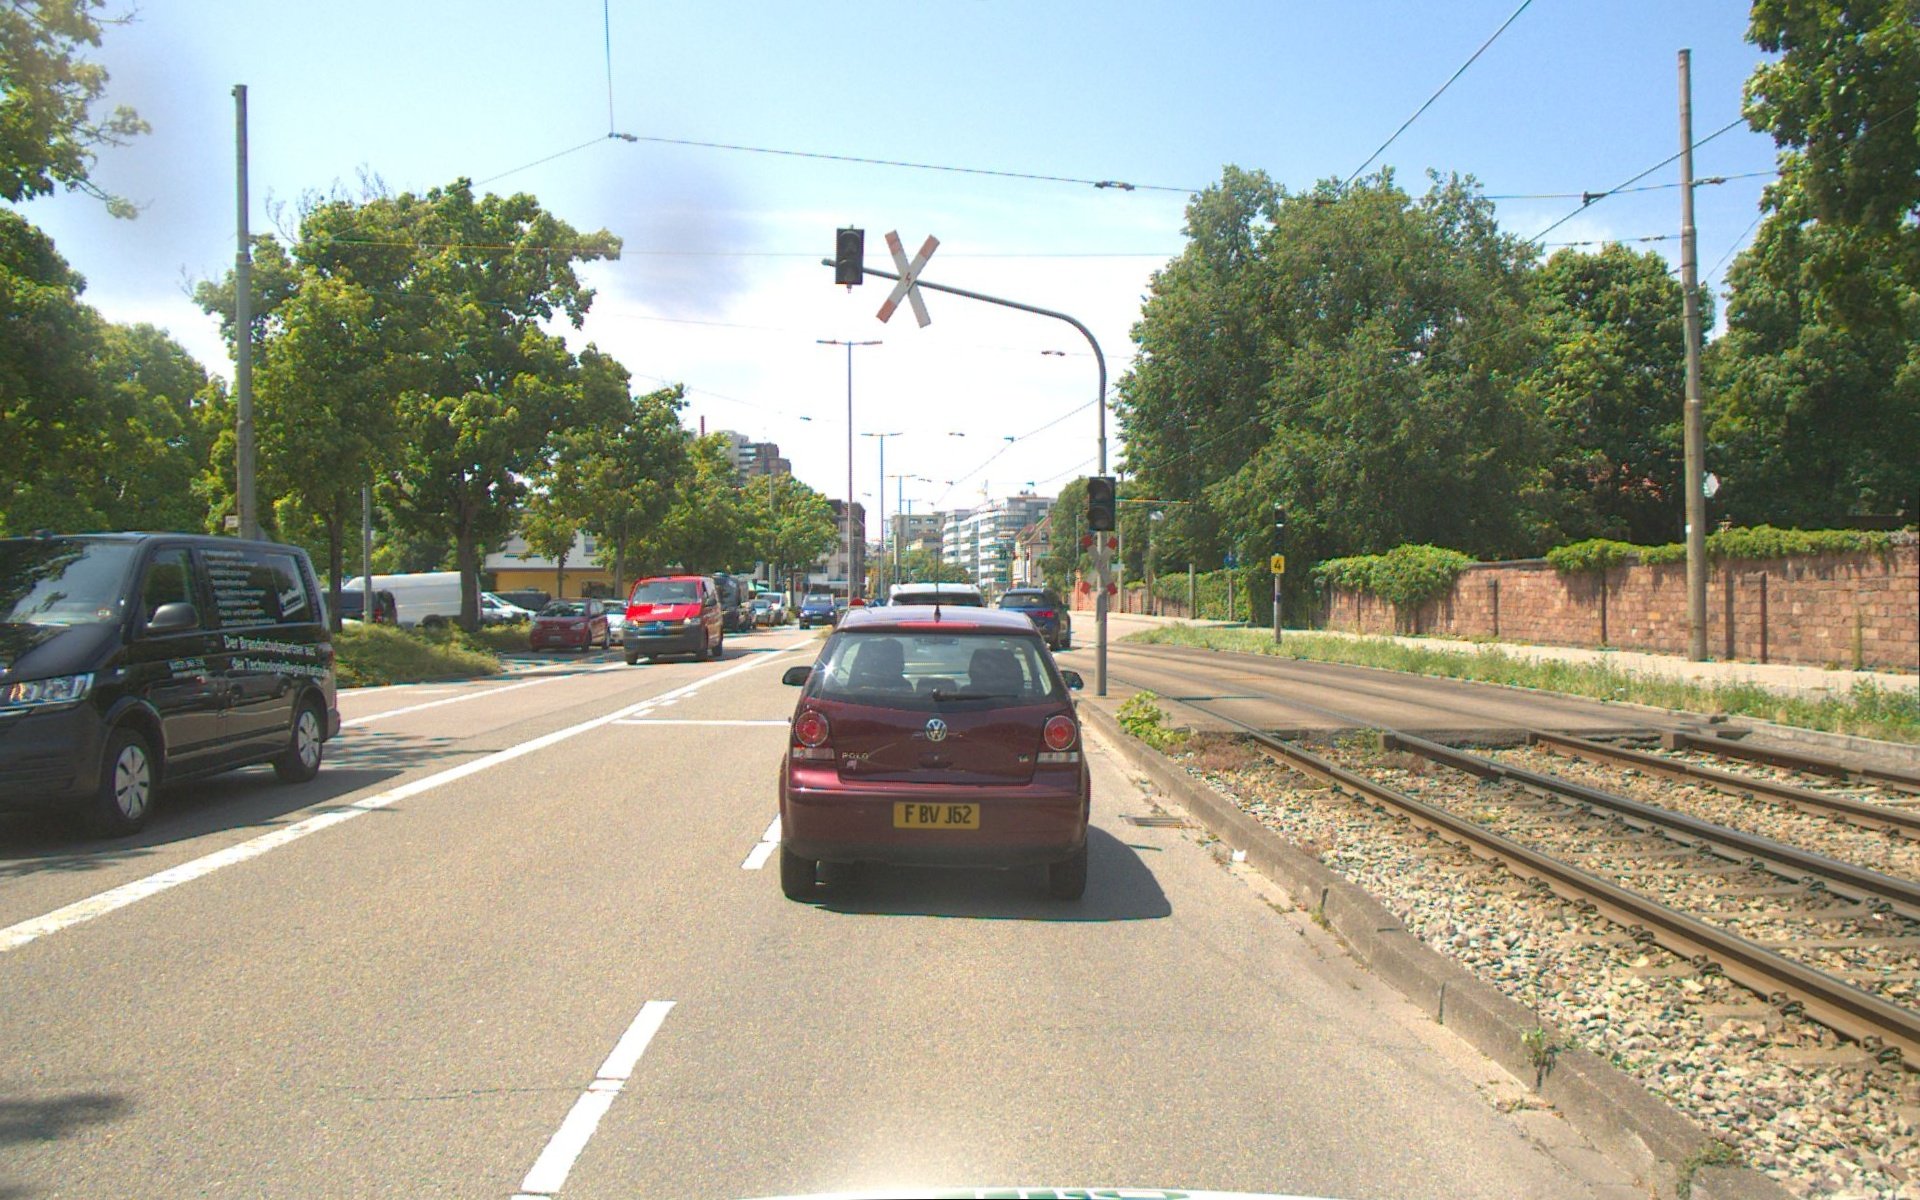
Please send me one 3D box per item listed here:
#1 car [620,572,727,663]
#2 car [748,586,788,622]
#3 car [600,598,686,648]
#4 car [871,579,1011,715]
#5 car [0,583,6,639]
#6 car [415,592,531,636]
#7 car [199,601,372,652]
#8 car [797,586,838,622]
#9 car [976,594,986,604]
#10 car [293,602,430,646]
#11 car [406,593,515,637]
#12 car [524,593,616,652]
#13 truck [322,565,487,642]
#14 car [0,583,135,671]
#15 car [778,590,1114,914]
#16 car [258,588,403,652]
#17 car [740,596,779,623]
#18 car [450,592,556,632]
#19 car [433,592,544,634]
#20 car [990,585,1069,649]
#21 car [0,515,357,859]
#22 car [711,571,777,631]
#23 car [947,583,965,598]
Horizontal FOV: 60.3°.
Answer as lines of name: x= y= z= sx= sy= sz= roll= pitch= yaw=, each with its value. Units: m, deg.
car: x=-6.739 y=0.380 z=39.350 sx=1.861 sy=1.959 sz=4.817 roll=-2 pitch=0 yaw=-3
car: x=-11.524 y=0.246 z=99.541 sx=1.837 sy=1.999 sz=5.163 roll=3 pitch=0 yaw=-1
car: x=-10.075 y=0.695 z=52.848 sx=1.683 sy=1.452 sz=4.772 roll=-2 pitch=0 yaw=1
car: x=-0.296 y=0.588 z=22.993 sx=1.759 sy=1.712 sz=3.999 roll=1 pitch=0 yaw=-2
car: x=-33.278 y=0.357 z=53.185 sx=4.044 sy=1.852 sz=1.970 roll=0 pitch=0 yaw=-2
car: x=-21.820 y=0.619 z=74.232 sx=4.624 sy=1.845 sz=1.796 roll=-1 pitch=0 yaw=-3
car: x=-21.556 y=0.828 z=53.003 sx=4.666 sy=1.514 sz=2.057 roll=-1 pitch=0 yaw=-3
car: x=-6.887 y=0.190 z=80.267 sx=1.702 sy=1.685 sz=4.065 roll=-1 pitch=0 yaw=-1
car: x=2.814 y=-0.147 z=219.780 sx=1.326 sy=1.274 sz=2.972 roll=1 pitch=0 yaw=-1
car: x=-20.953 y=0.833 z=58.061 sx=4.125 sy=1.436 sz=1.856 roll=-1 pitch=0 yaw=-3
car: x=-21.557 y=0.646 z=71.518 sx=4.125 sy=1.796 sz=1.856 roll=-1 pitch=0 yaw=-3
car: x=-10.985 y=0.624 z=46.817 sx=1.637 sy=1.573 sz=3.727 roll=1 pitch=0 yaw=1
truck: x=-21.251 y=0.124 z=63.506 sx=5.464 sy=2.808 sz=2.432 roll=-1 pitch=0 yaw=0
car: x=-21.241 y=0.609 z=37.138 sx=4.361 sy=1.889 sz=2.059 roll=-1 pitch=0 yaw=-5
car: x=-0.115 y=0.713 z=9.831 sx=1.577 sy=1.524 sz=3.999 roll=1 pitch=0 yaw=-2
car: x=-21.108 y=0.649 z=55.593 sx=4.125 sy=2.030 sz=1.856 roll=-1 pitch=0 yaw=-3
car: x=-11.342 y=0.535 z=93.726 sx=1.598 sy=1.444 sz=3.867 roll=2 pitch=0 yaw=1
car: x=-21.985 y=0.567 z=79.661 sx=4.624 sy=1.845 sz=1.796 roll=-1 pitch=0 yaw=-3
car: x=-21.877 y=0.593 z=76.797 sx=4.624 sy=1.845 sz=1.796 roll=-1 pitch=0 yaw=-3
car: x=1.970 y=0.438 z=45.581 sx=1.736 sy=1.659 sz=4.003 roll=1 pitch=0 yaw=9
car: x=-6.011 y=0.503 z=11.675 sx=1.879 sy=1.944 sz=4.570 roll=-2 pitch=0 yaw=-2
car: x=-10.510 y=0.025 z=80.927 sx=2.350 sy=2.702 sz=6.171 roll=3 pitch=0 yaw=-1
car: x=-0.525 y=-1.199 z=216.863 sx=1.881 sy=1.944 sz=4.565 roll=-1 pitch=0 yaw=-6
